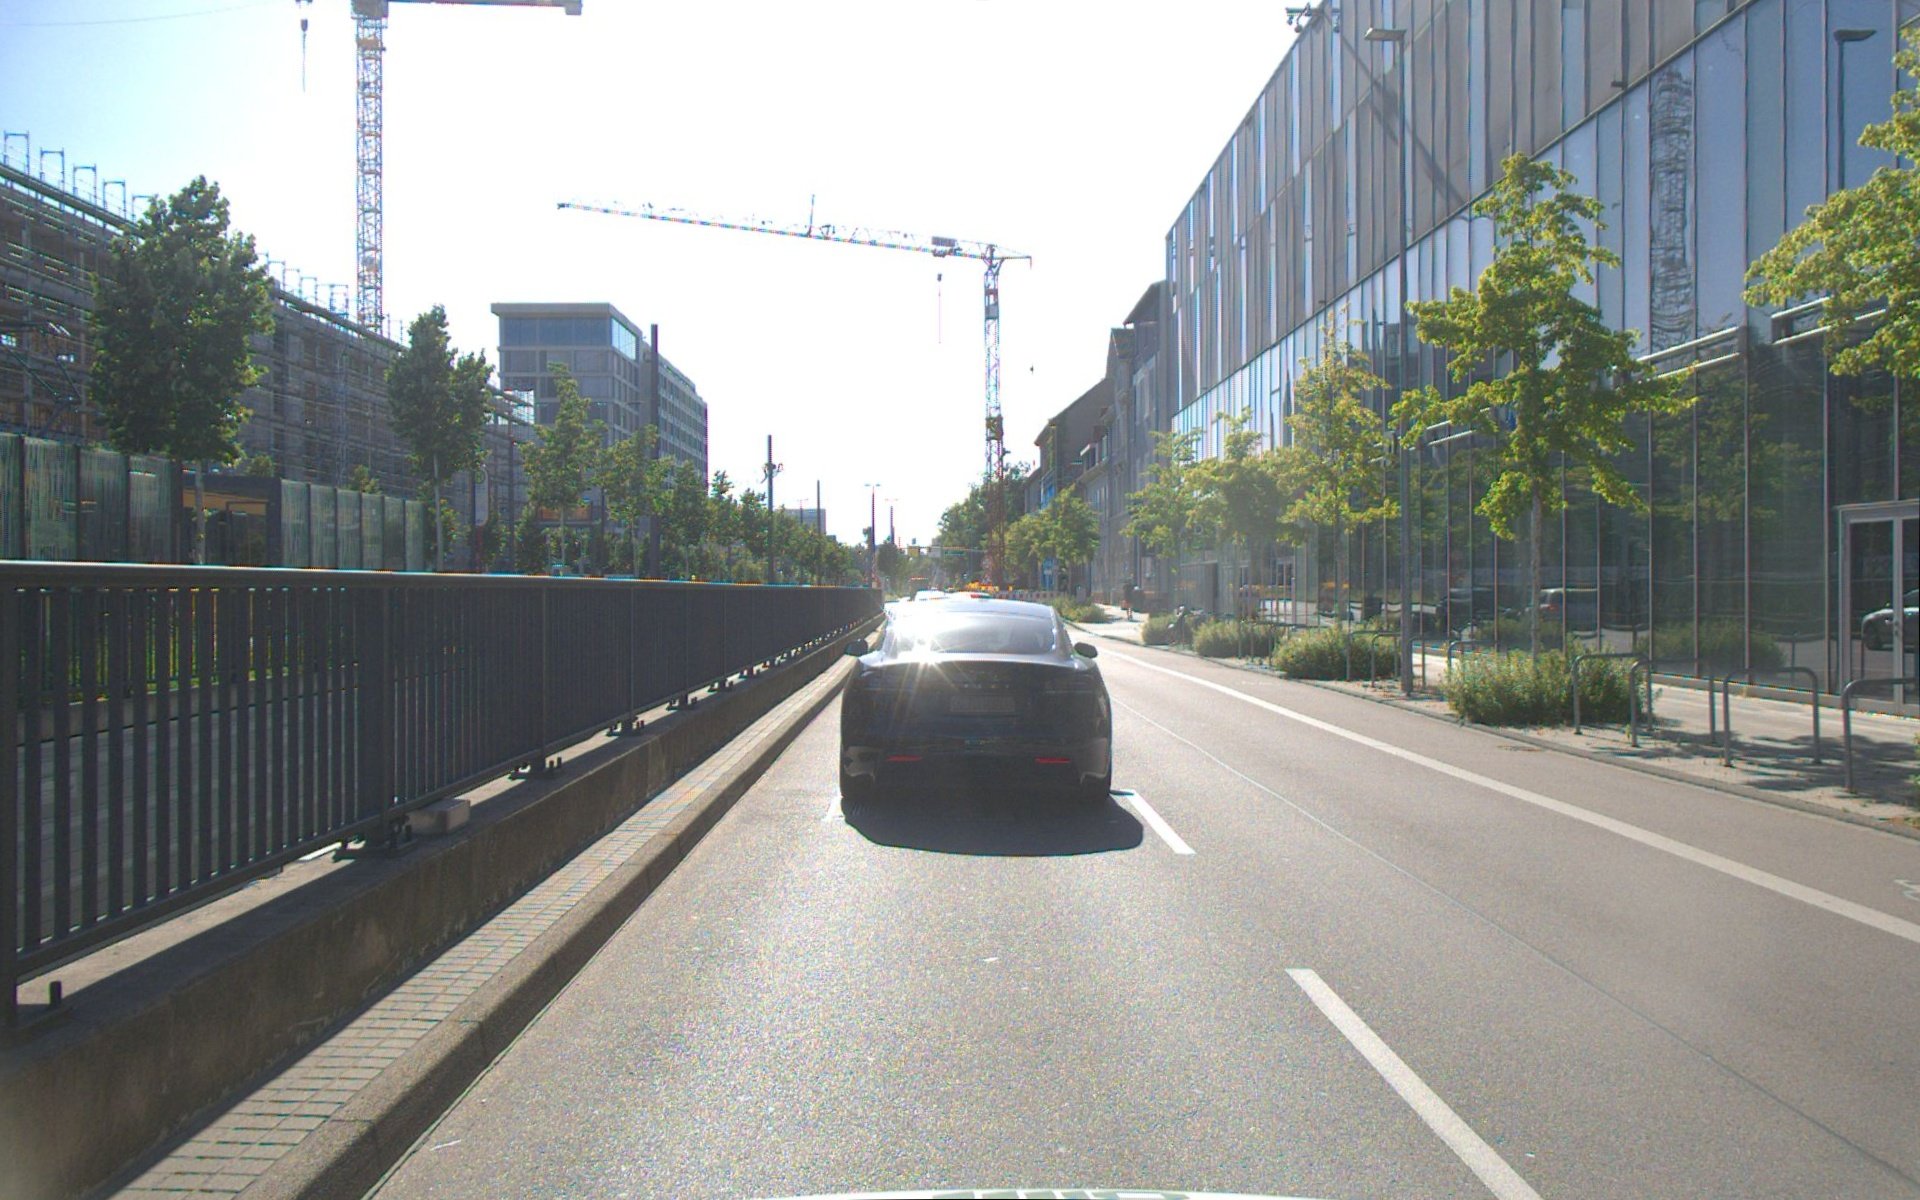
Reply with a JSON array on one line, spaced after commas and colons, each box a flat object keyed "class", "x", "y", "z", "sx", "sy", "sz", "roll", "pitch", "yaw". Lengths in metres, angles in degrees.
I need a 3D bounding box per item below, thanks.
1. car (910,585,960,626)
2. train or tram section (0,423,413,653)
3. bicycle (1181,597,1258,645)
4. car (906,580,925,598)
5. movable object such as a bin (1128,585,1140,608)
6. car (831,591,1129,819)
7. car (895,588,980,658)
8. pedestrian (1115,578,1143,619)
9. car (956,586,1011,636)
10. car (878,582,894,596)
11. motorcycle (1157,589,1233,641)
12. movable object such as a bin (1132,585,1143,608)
[{"class": "car", "x": -1.011, "y": 0.198, "z": 68.102, "sx": 1.849, "sy": 1.624, "sz": 4.001, "roll": 0, "pitch": 1, "yaw": 2}, {"class": "train or tram section", "x": -15.416, "y": -1.022, "z": 31.581, "sx": 2.812, "sy": 3.336, "sz": 22.140, "roll": 1, "pitch": 1, "yaw": -1}, {"class": "bicycle", "x": 6.782, "y": 0.549, "z": 43.181, "sx": 1.848, "sy": 1.171, "sz": 0.670, "roll": -2, "pitch": 0, "yaw": -11}, {"class": "car", "x": -4.607, "y": -1.112, "z": 171.236, "sx": 1.776, "sy": 1.841, "sz": 4.039, "roll": 0, "pitch": 1, "yaw": 0}, {"class": "movable object such as a bin", "x": 8.942, "y": -0.185, "z": 85.025, "sx": 0.547, "sy": 1.189, "sz": 0.562, "roll": 1, "pitch": 0, "yaw": 3}, {"class": "car", "x": 0.219, "y": 0.679, "z": 13.123, "sx": 1.957, "sy": 1.459, "sz": 4.414, "roll": 1, "pitch": 1, "yaw": 2}, {"class": "car", "x": -0.447, "y": 0.439, "z": 34.828, "sx": 1.681, "sy": 1.343, "sz": 4.000, "roll": 0, "pitch": 1, "yaw": 0}, {"class": "pedestrian", "x": 7.995, "y": -0.082, "z": 78.313, "sx": 1.073, "sy": 1.896, "sz": 1.522, "roll": -1, "pitch": 0, "yaw": -2}, {"class": "car", "x": 0.776, "y": 0.336, "z": 54.707, "sx": 1.748, "sy": 1.573, "sz": 4.039, "roll": 0, "pitch": 1, "yaw": 0}, {"class": "car", "x": -9.242, "y": -1.383, "z": 207.691, "sx": 1.953, "sy": 1.713, "sz": 3.998, "roll": 1, "pitch": 0, "yaw": -2}, {"class": "motorcycle", "x": 6.795, "y": 0.436, "z": 47.821, "sx": 2.030, "sy": 1.377, "sz": 0.652, "roll": -3, "pitch": 0, "yaw": 22}, {"class": "movable object such as a bin", "x": 9.034, "y": -0.181, "z": 84.178, "sx": 0.547, "sy": 1.189, "sz": 0.562, "roll": 1, "pitch": 0, "yaw": 3}]
